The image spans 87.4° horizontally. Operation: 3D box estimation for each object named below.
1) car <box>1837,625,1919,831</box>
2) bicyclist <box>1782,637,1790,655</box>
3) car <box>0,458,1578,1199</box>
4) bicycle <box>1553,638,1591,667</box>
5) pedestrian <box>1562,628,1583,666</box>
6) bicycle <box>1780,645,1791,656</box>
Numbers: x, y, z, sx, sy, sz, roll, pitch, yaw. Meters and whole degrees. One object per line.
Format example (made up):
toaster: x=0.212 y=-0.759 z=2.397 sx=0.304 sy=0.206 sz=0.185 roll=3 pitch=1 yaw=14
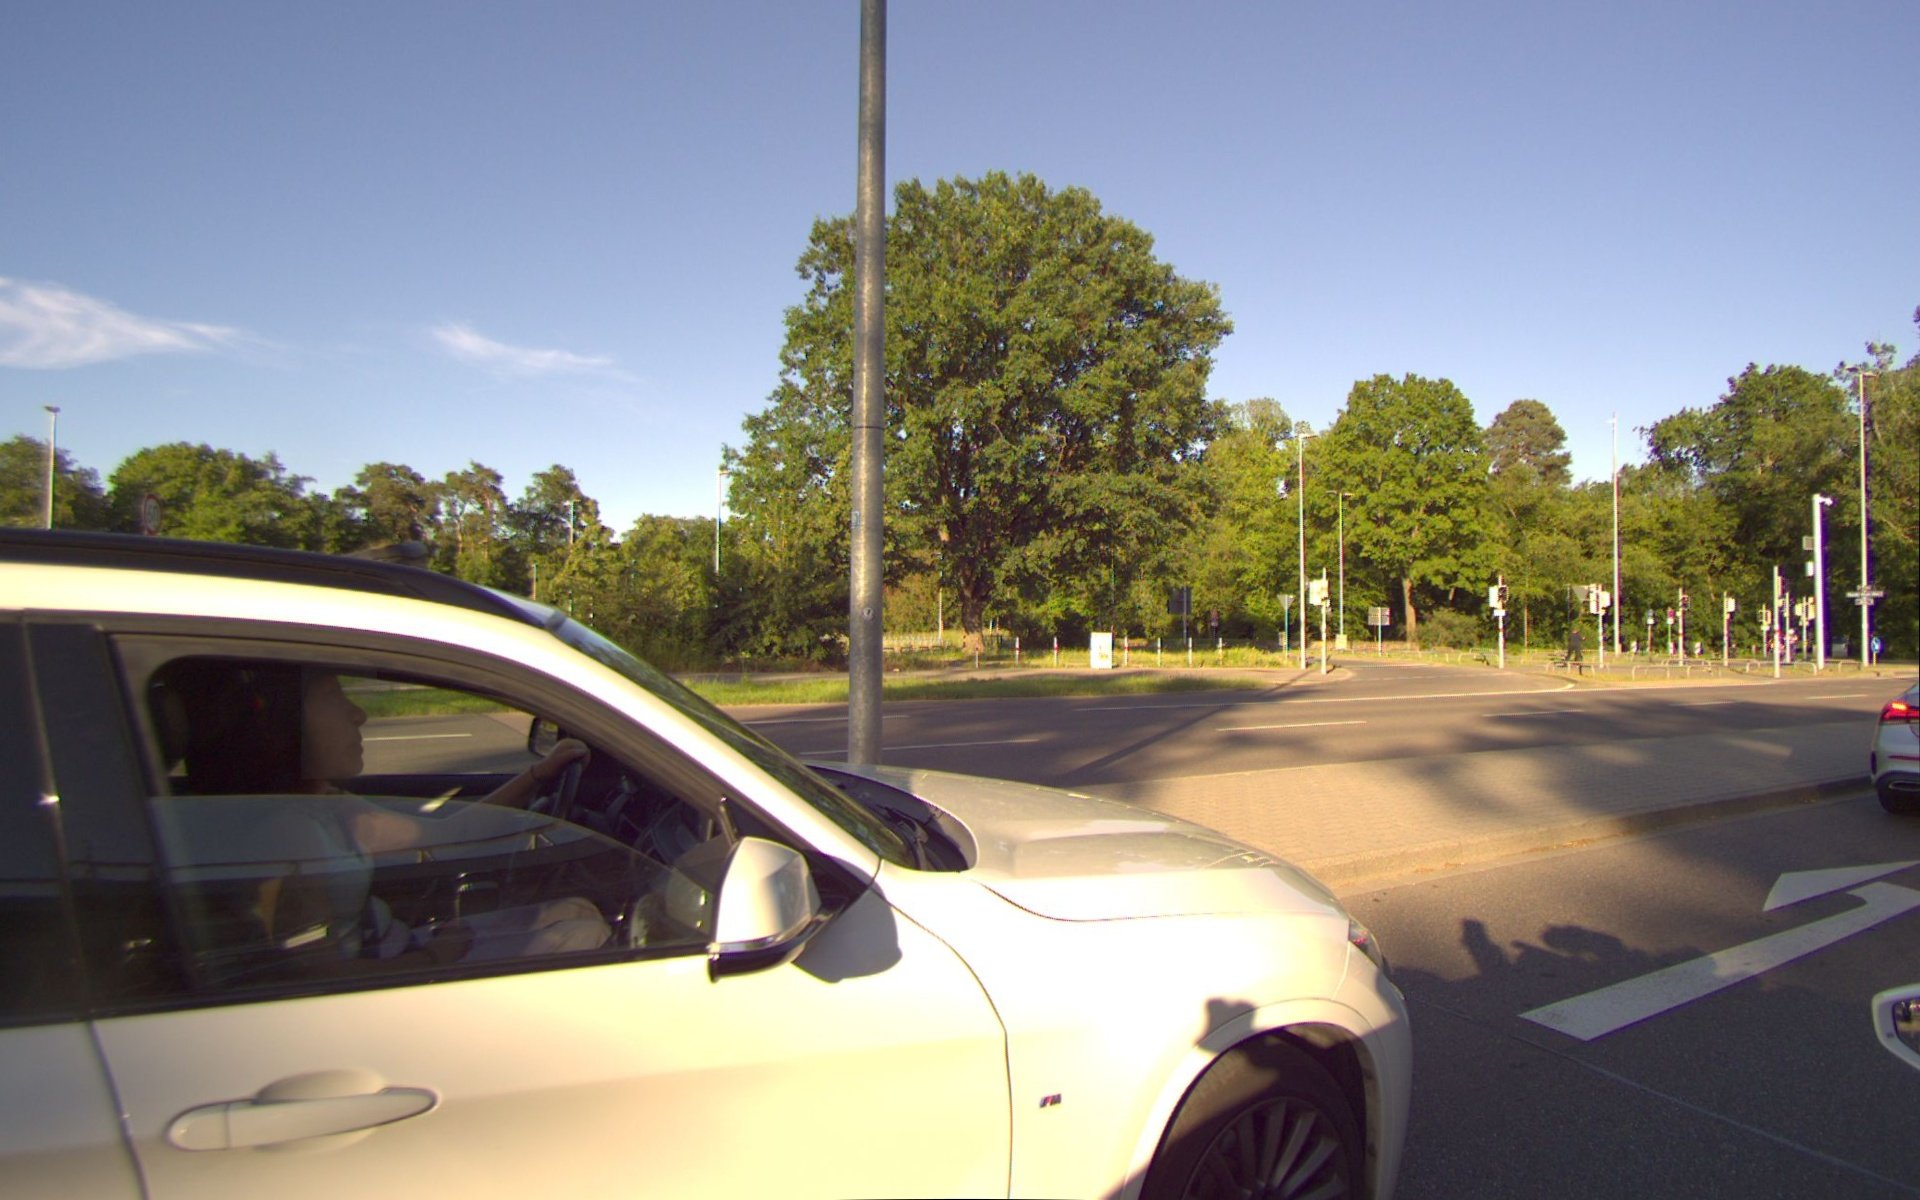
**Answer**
car: x=8.933 y=0.952 z=7.940 sx=4.228 sy=1.463 sz=1.776 roll=1 pitch=0 yaw=-31
bicyclist: x=44.240 y=2.459 z=53.795 sx=0.238 sy=0.975 sz=0.271 roll=2 pitch=0 yaw=-37
car: x=-1.036 y=0.682 z=1.735 sx=4.382 sy=1.601 sz=1.710 roll=3 pitch=-1 yaw=-30
bicycle: x=26.039 y=2.241 z=42.733 sx=1.980 sy=1.193 sz=0.466 roll=2 pitch=0 yaw=-31
pedestrian: x=26.059 y=1.989 z=42.755 sx=0.641 sy=1.583 sz=0.479 roll=2 pitch=0 yaw=-30
bicycle: x=44.233 y=2.714 z=53.807 sx=0.831 sy=0.589 sz=0.264 roll=2 pitch=0 yaw=-36
